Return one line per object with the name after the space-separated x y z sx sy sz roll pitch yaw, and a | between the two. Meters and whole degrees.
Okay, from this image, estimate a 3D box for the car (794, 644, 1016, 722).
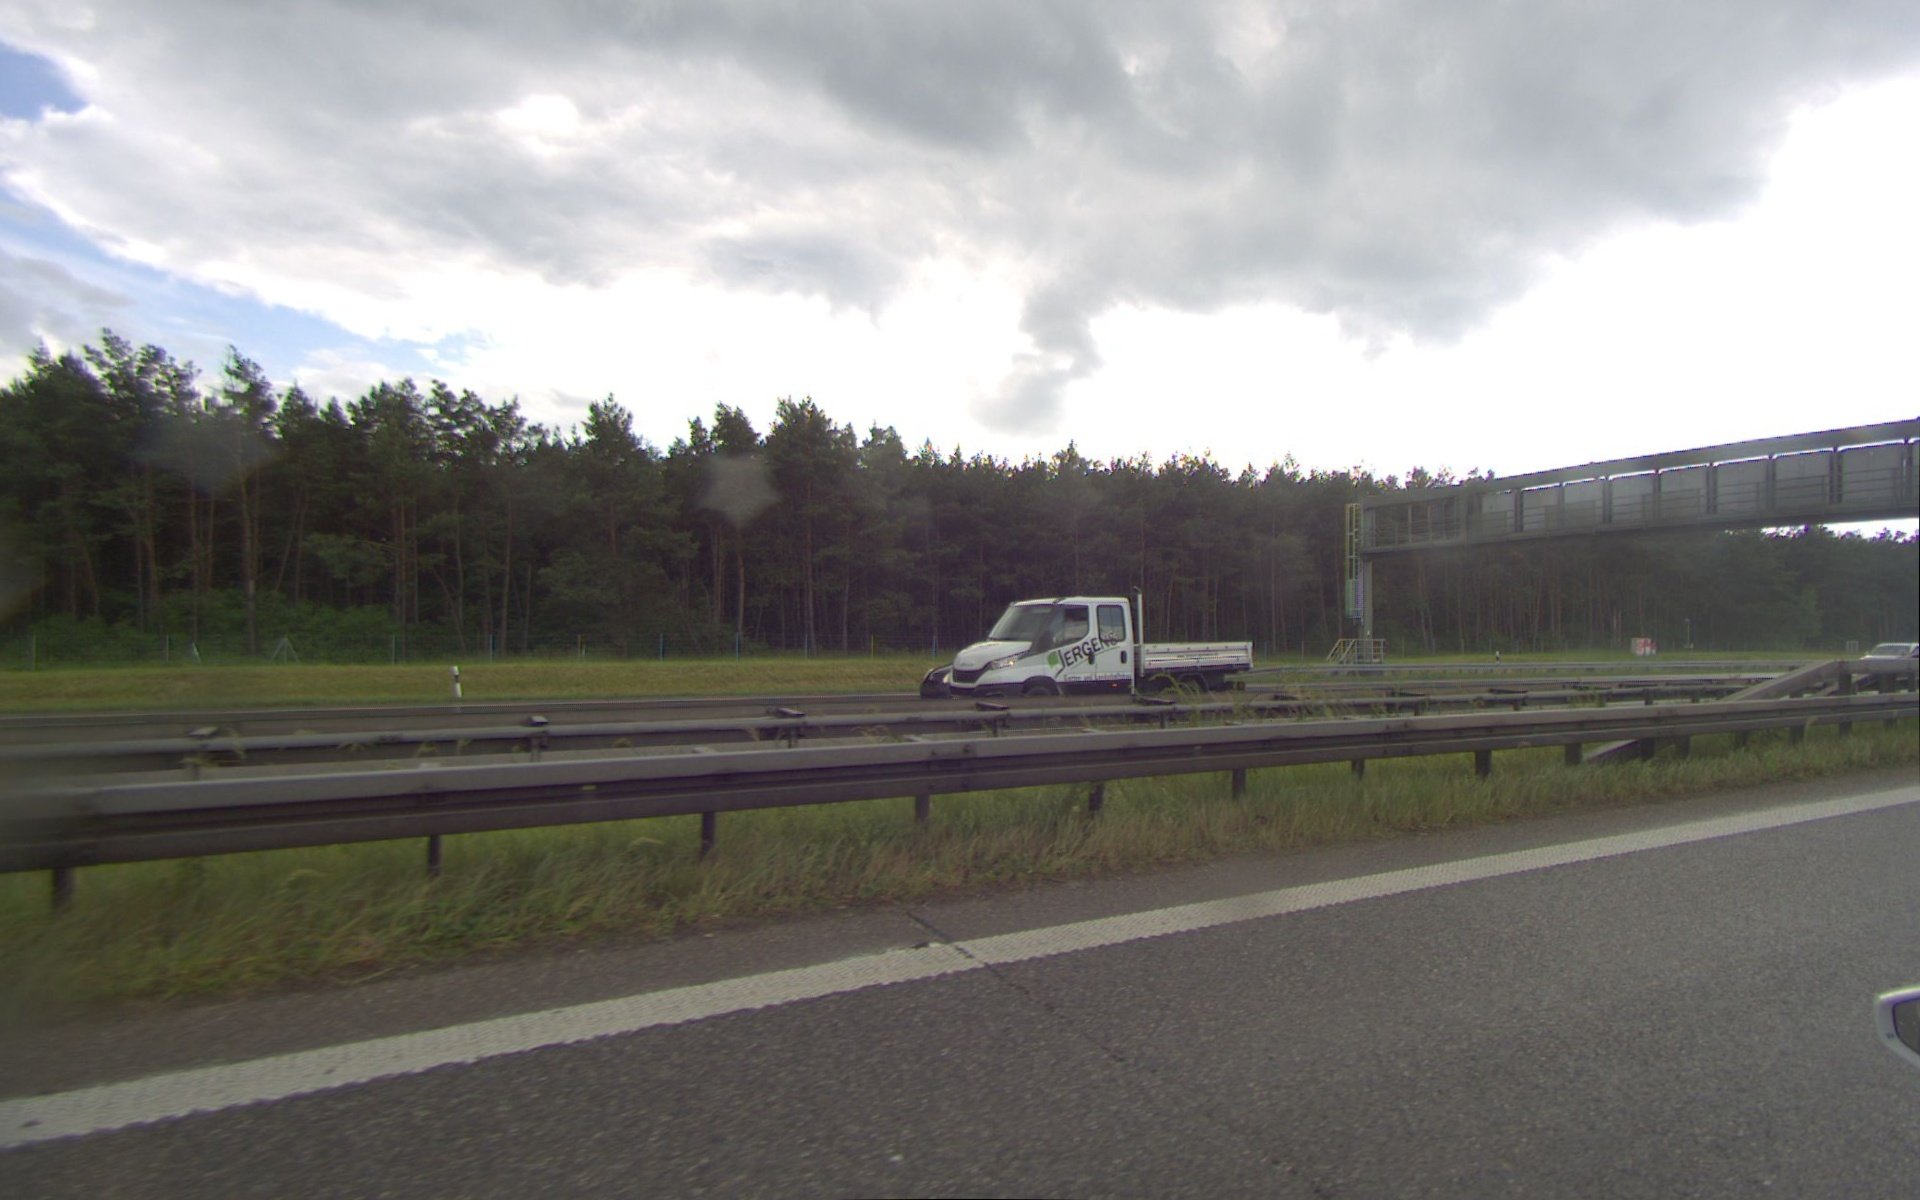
-1.140 1.716 21.543 4.508 1.479 1.664 2 -2 -30 | car

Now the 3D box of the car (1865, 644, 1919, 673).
43.735 2.697 46.553 3.797 1.274 1.617 2 -1 -31 | car

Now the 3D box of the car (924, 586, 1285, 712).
2.827 0.867 18.945 6.653 2.040 2.274 1 1 -28 | car
